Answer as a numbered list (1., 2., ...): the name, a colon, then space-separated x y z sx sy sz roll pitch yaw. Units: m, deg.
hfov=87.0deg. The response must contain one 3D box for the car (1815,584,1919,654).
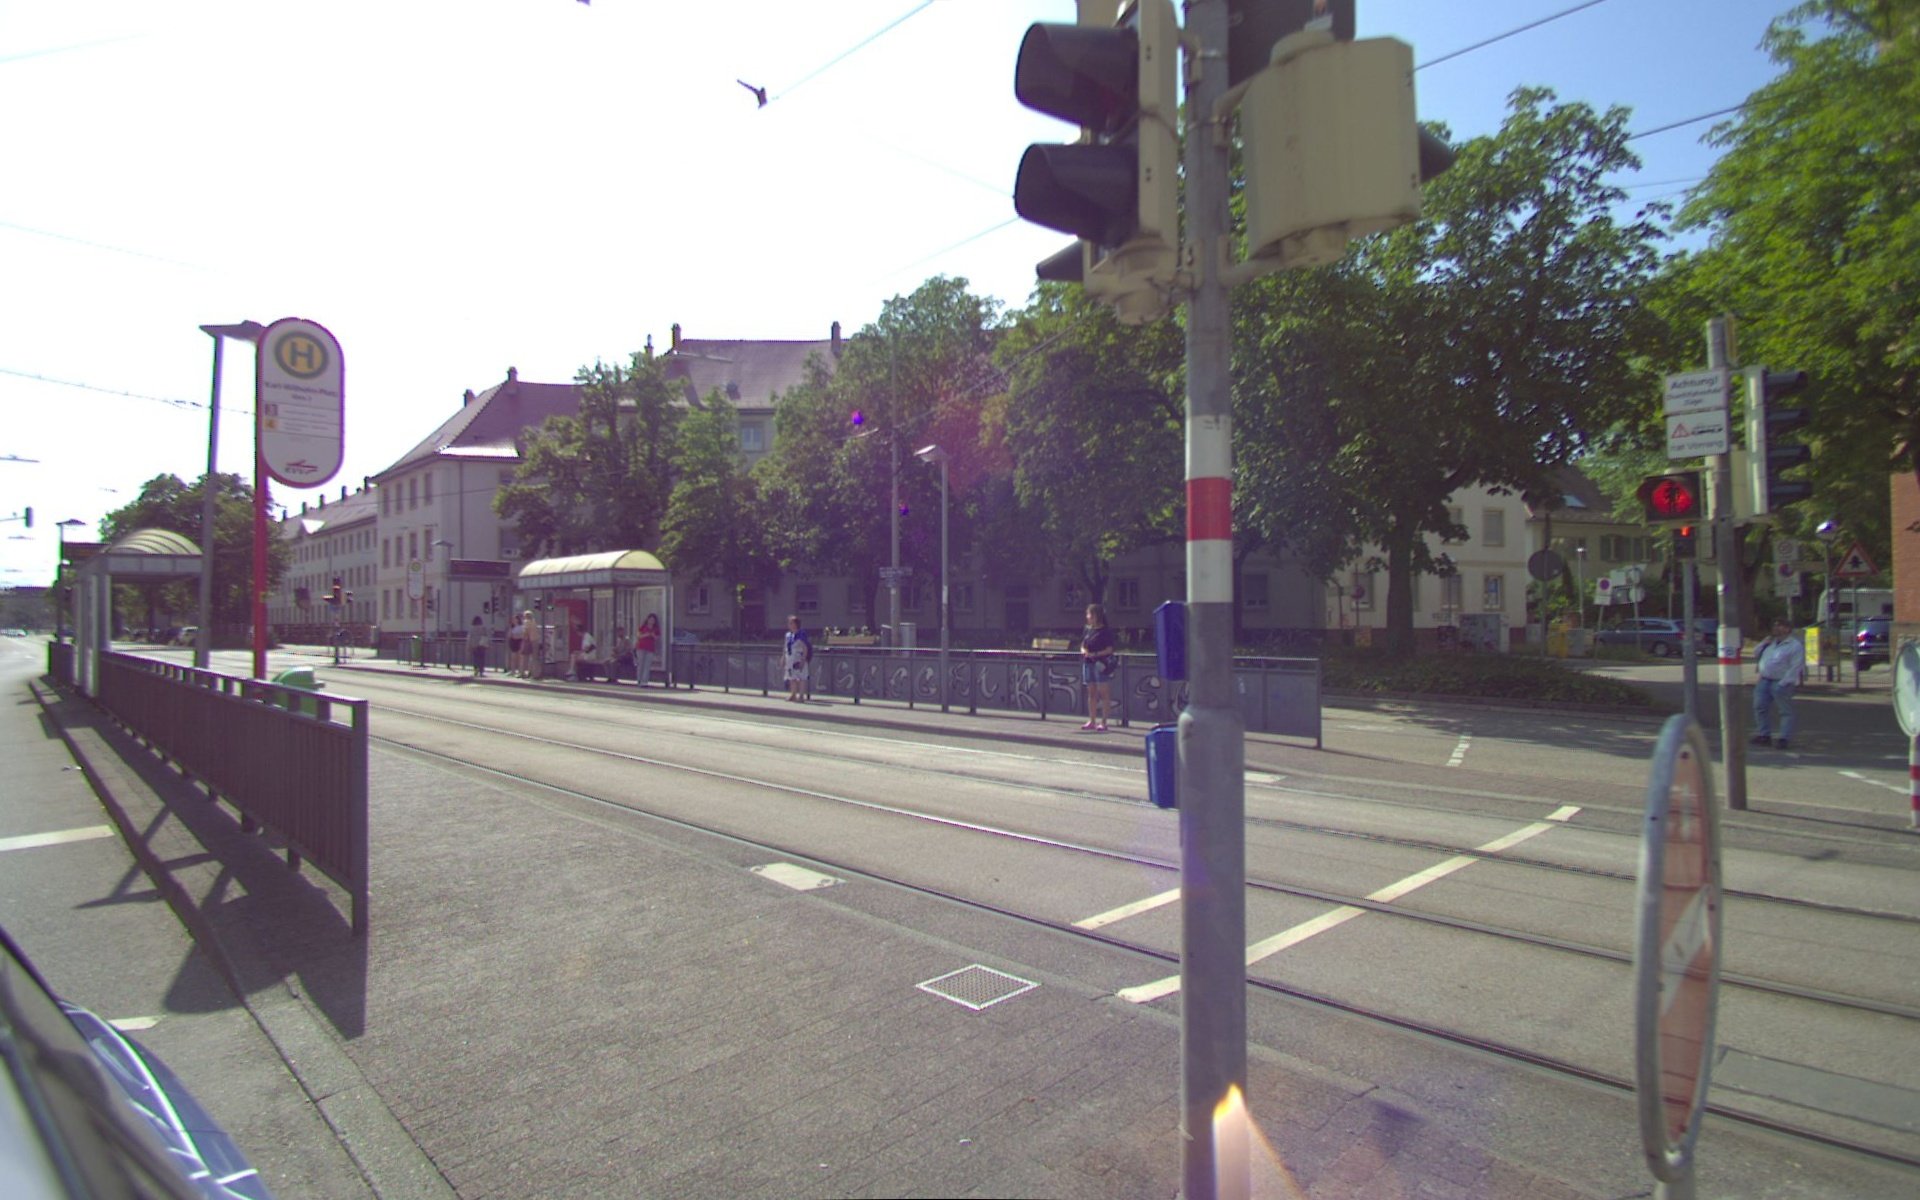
1. car: 45.959 0.927 48.830 2.136 3.273 6.887 0 -2 -23

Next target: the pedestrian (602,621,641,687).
1. pedestrian: -7.700 1.223 23.036 0.692 1.468 0.523 -1 -4 44

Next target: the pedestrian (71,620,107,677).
1. pedestrian: -24.248 1.327 28.174 0.692 1.544 0.557 -1 0 -45

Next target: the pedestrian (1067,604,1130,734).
1. pedestrian: 1.711 0.850 12.534 0.530 1.554 0.516 2 -5 -45

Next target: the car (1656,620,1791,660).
1. car: 33.524 1.725 44.595 1.965 1.688 4.331 0 -2 -22

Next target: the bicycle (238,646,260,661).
1. bicycle: -42.599 3.177 60.638 1.618 0.855 0.745 -2 -2 42

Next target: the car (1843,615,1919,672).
1. car: 28.239 1.249 29.197 1.970 1.563 4.003 -1 0 -44

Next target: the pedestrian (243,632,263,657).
1. pedestrian: -42.303 2.666 60.553 0.806 1.485 0.794 -2 -2 41

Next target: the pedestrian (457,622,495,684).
1. pedestrian: -13.053 1.429 27.292 0.638 1.619 0.649 -1 -4 40

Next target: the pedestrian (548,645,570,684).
1. pedestrian: -9.904 1.587 25.005 0.346 0.937 0.335 -1 -4 40

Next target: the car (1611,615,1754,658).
1. car: 29.712 1.483 41.757 1.965 1.688 4.331 1 -2 -28

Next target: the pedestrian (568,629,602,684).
1. pedestrian: -9.343 1.418 25.227 0.406 1.347 0.597 -1 -4 40

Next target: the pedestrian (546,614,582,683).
1. pedestrian: -9.751 1.194 24.936 0.678 1.682 0.491 -1 -4 40

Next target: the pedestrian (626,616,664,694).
1. pedestrian: -6.874 1.189 22.067 0.467 1.669 0.746 3 -3 -45

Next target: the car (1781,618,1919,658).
1. car: 39.844 1.674 45.337 1.965 1.688 4.331 0 -2 -22

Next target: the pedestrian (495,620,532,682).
1. pedestrian: -12.103 1.385 27.442 0.648 1.654 0.639 5 -5 -44

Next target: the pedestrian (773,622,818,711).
1. pedestrian: -2.890 1.155 17.754 0.422 1.515 0.704 4 -3 -44

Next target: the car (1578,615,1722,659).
1. car: 27.525 1.461 40.514 1.965 1.688 4.331 1 -2 -28

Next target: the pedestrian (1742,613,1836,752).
1. pedestrian: 10.544 1.026 12.897 0.847 1.711 0.461 -1 0 34
